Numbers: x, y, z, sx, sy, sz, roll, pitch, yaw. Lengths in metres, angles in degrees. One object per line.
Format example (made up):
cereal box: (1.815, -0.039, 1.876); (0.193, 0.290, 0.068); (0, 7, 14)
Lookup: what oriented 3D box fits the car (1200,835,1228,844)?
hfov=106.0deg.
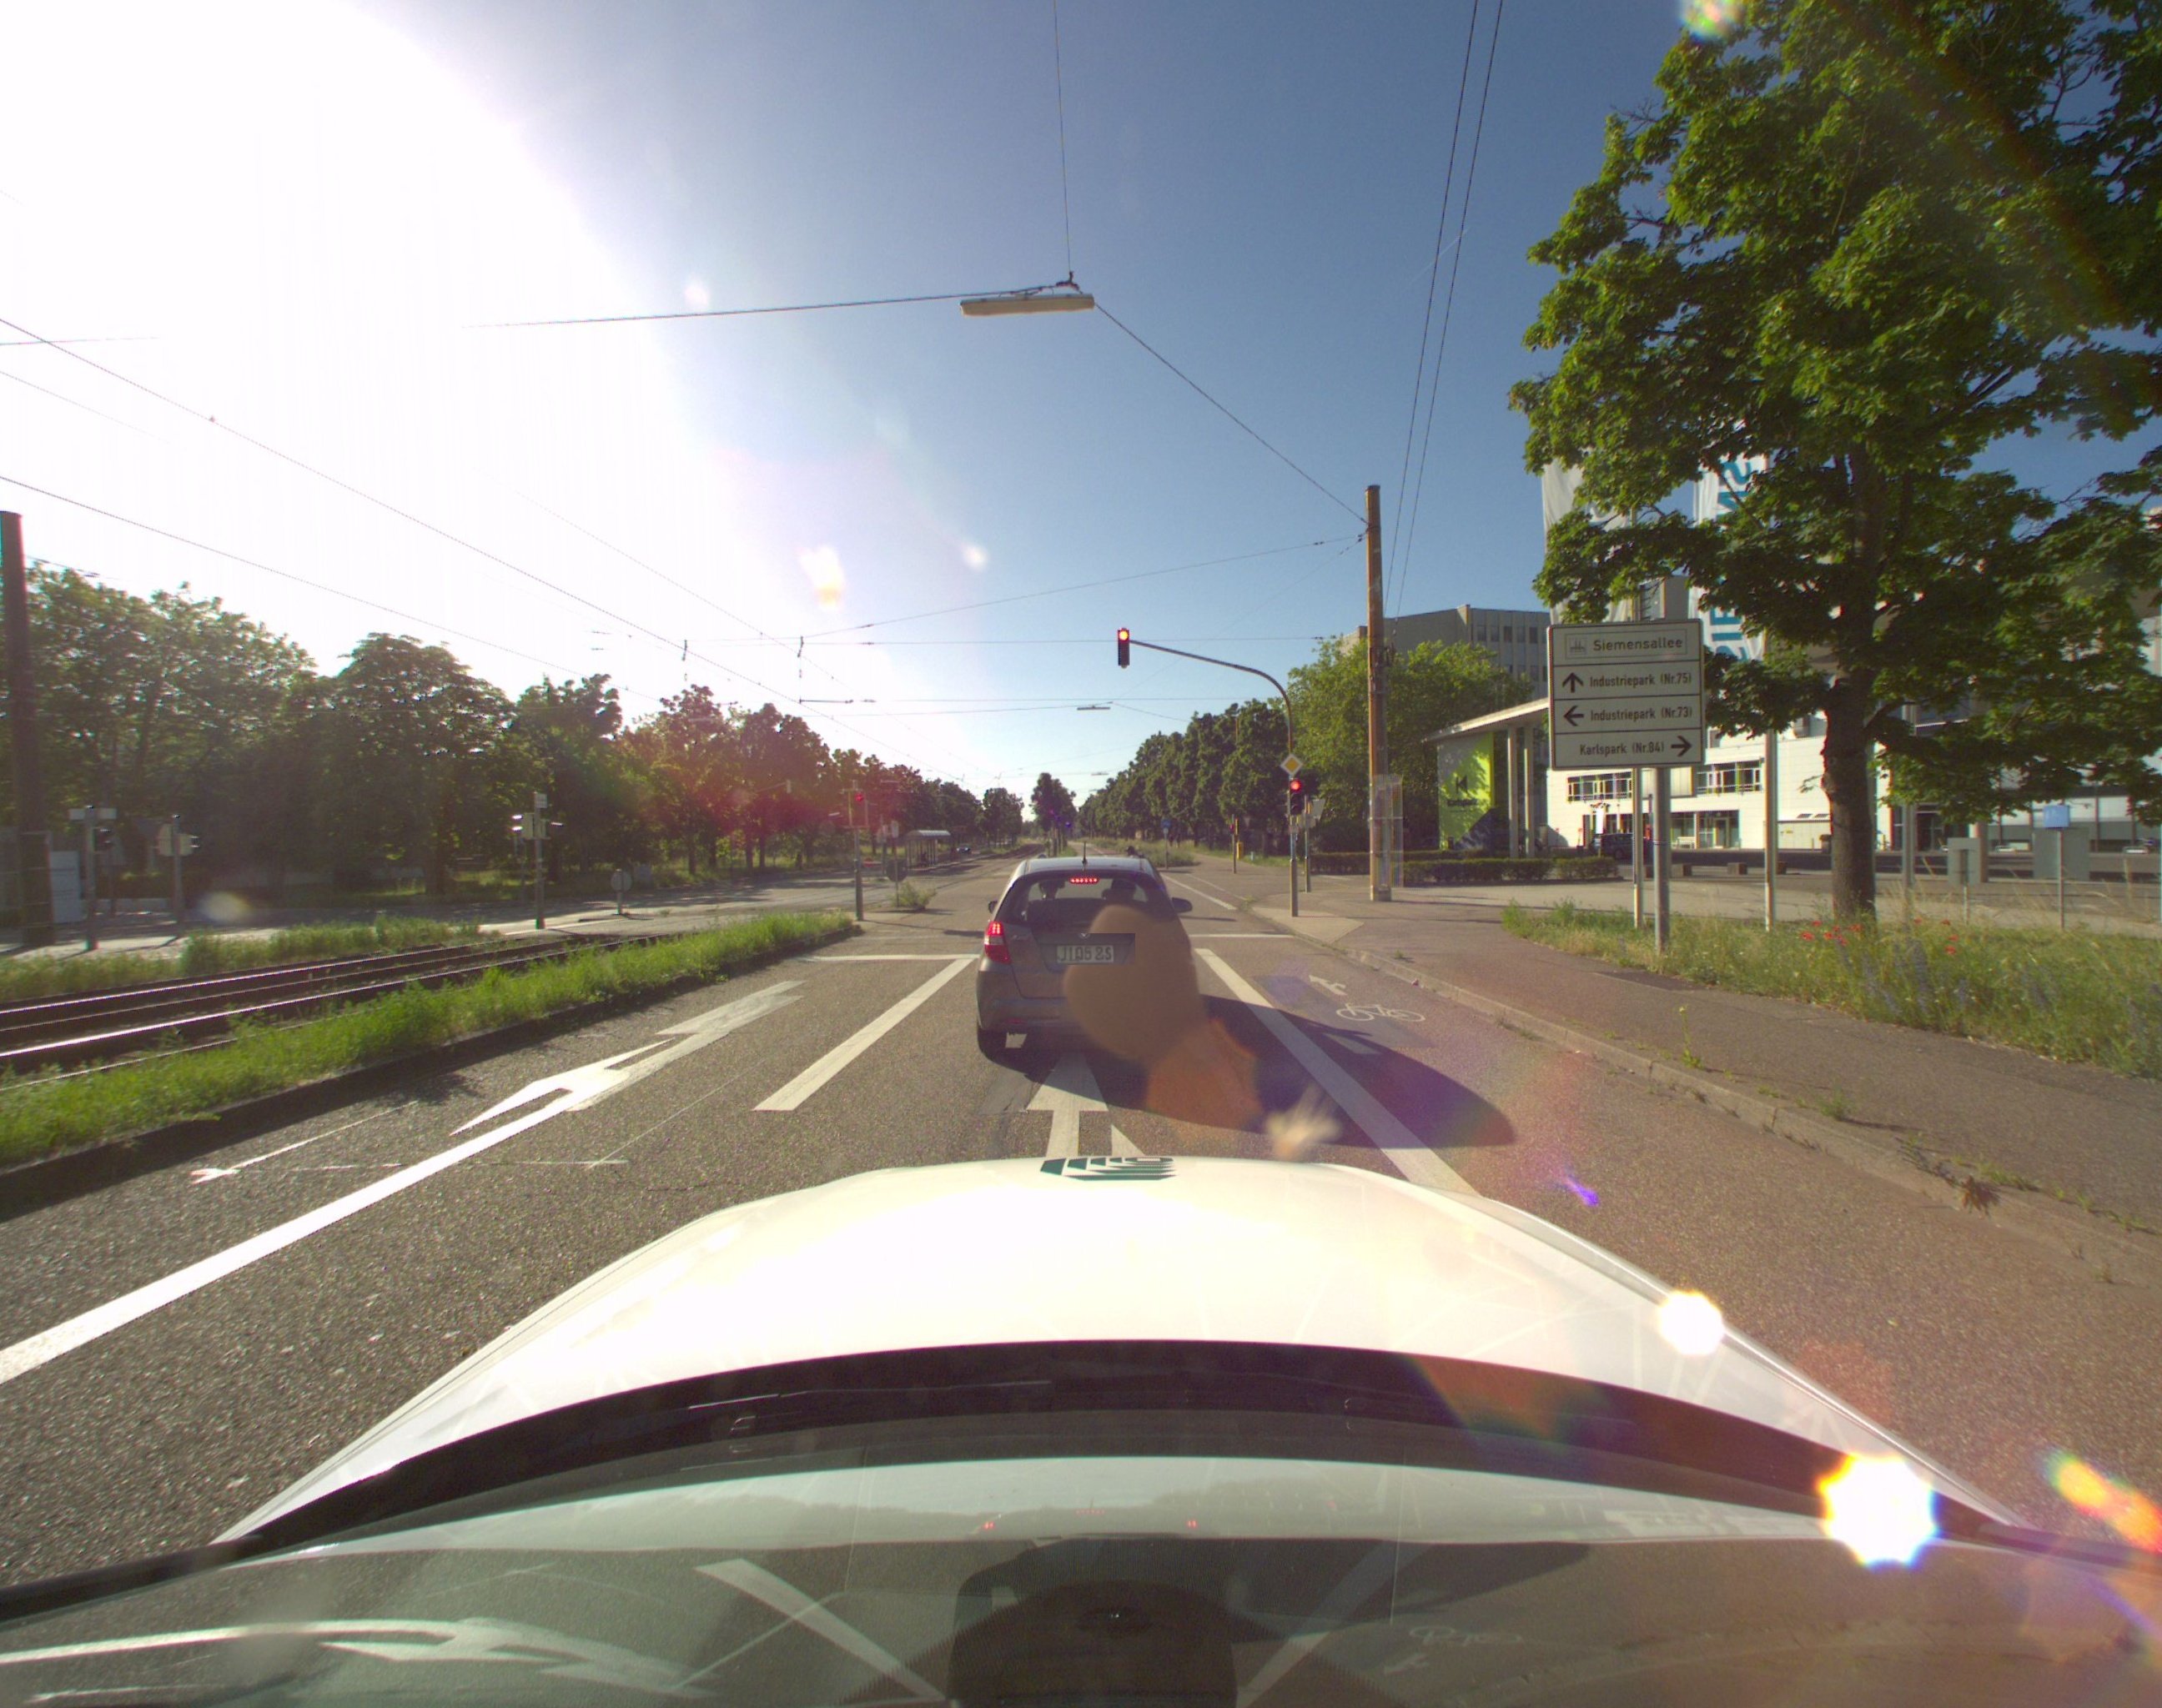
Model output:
car: (23.509, -2.557, 144.255); (4.623, 1.555, 1.997); (-2, 1, -5)

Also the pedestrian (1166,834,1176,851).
pedestrian: (10.035, -1.251, 90.730); (0.880, 1.884, 0.875); (-2, 1, -2)

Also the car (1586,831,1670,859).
car: (33.317, -0.567, 49.639); (3.984, 1.578, 1.949); (-1, 0, -8)

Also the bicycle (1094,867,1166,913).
bicycle: (1.230, 0.915, 20.719); (1.769, 1.102, 0.699); (-1, 0, 0)

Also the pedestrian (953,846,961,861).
pedestrian: (-12.270, -0.053, 80.575); (0.542, 1.447, 0.559); (-2, 0, 1)

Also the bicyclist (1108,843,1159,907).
bicyclist: (1.330, 0.519, 20.704); (1.228, 1.593, 0.805); (-1, 0, 0)

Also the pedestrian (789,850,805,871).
pedestrian: (-24.323, 0.535, 69.676); (0.751, 1.734, 0.943); (-1, 1, 30)

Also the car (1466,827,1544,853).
car: (31.104, -1.048, 59.769); (4.888, 1.757, 2.082); (-2, 1, -14)

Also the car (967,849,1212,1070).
car: (0.116, 0.743, 7.552); (1.694, 1.524, 3.711); (-1, 0, 2)

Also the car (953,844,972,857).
car: (-18.266, -0.518, 125.675); (2.087, 1.810, 4.792); (-3, 1, 0)

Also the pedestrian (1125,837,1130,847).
pedestrian: (7.890, -2.051, 139.138); (0.723, 1.691, 0.820); (-1, -2, -1)

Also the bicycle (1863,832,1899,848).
bicycle: (52.267, -0.896, 53.241); (0.565, 1.004, 1.614); (-2, 1, -13)

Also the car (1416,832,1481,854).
car: (30.042, -0.924, 66.661); (4.448, 1.686, 1.892); (-2, 1, -4)

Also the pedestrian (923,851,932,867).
pedestrian: (-12.448, 0.375, 66.006); (0.562, 1.257, 0.581); (-4, 0, 1)

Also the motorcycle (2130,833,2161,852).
motorcycle: (54.658, -0.584, 41.254); (0.652, 0.947, 1.727); (-2, 1, -13)

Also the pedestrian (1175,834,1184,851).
pedestrian: (10.972, -1.258, 90.724); (0.880, 1.884, 0.875); (-2, 1, -2)
